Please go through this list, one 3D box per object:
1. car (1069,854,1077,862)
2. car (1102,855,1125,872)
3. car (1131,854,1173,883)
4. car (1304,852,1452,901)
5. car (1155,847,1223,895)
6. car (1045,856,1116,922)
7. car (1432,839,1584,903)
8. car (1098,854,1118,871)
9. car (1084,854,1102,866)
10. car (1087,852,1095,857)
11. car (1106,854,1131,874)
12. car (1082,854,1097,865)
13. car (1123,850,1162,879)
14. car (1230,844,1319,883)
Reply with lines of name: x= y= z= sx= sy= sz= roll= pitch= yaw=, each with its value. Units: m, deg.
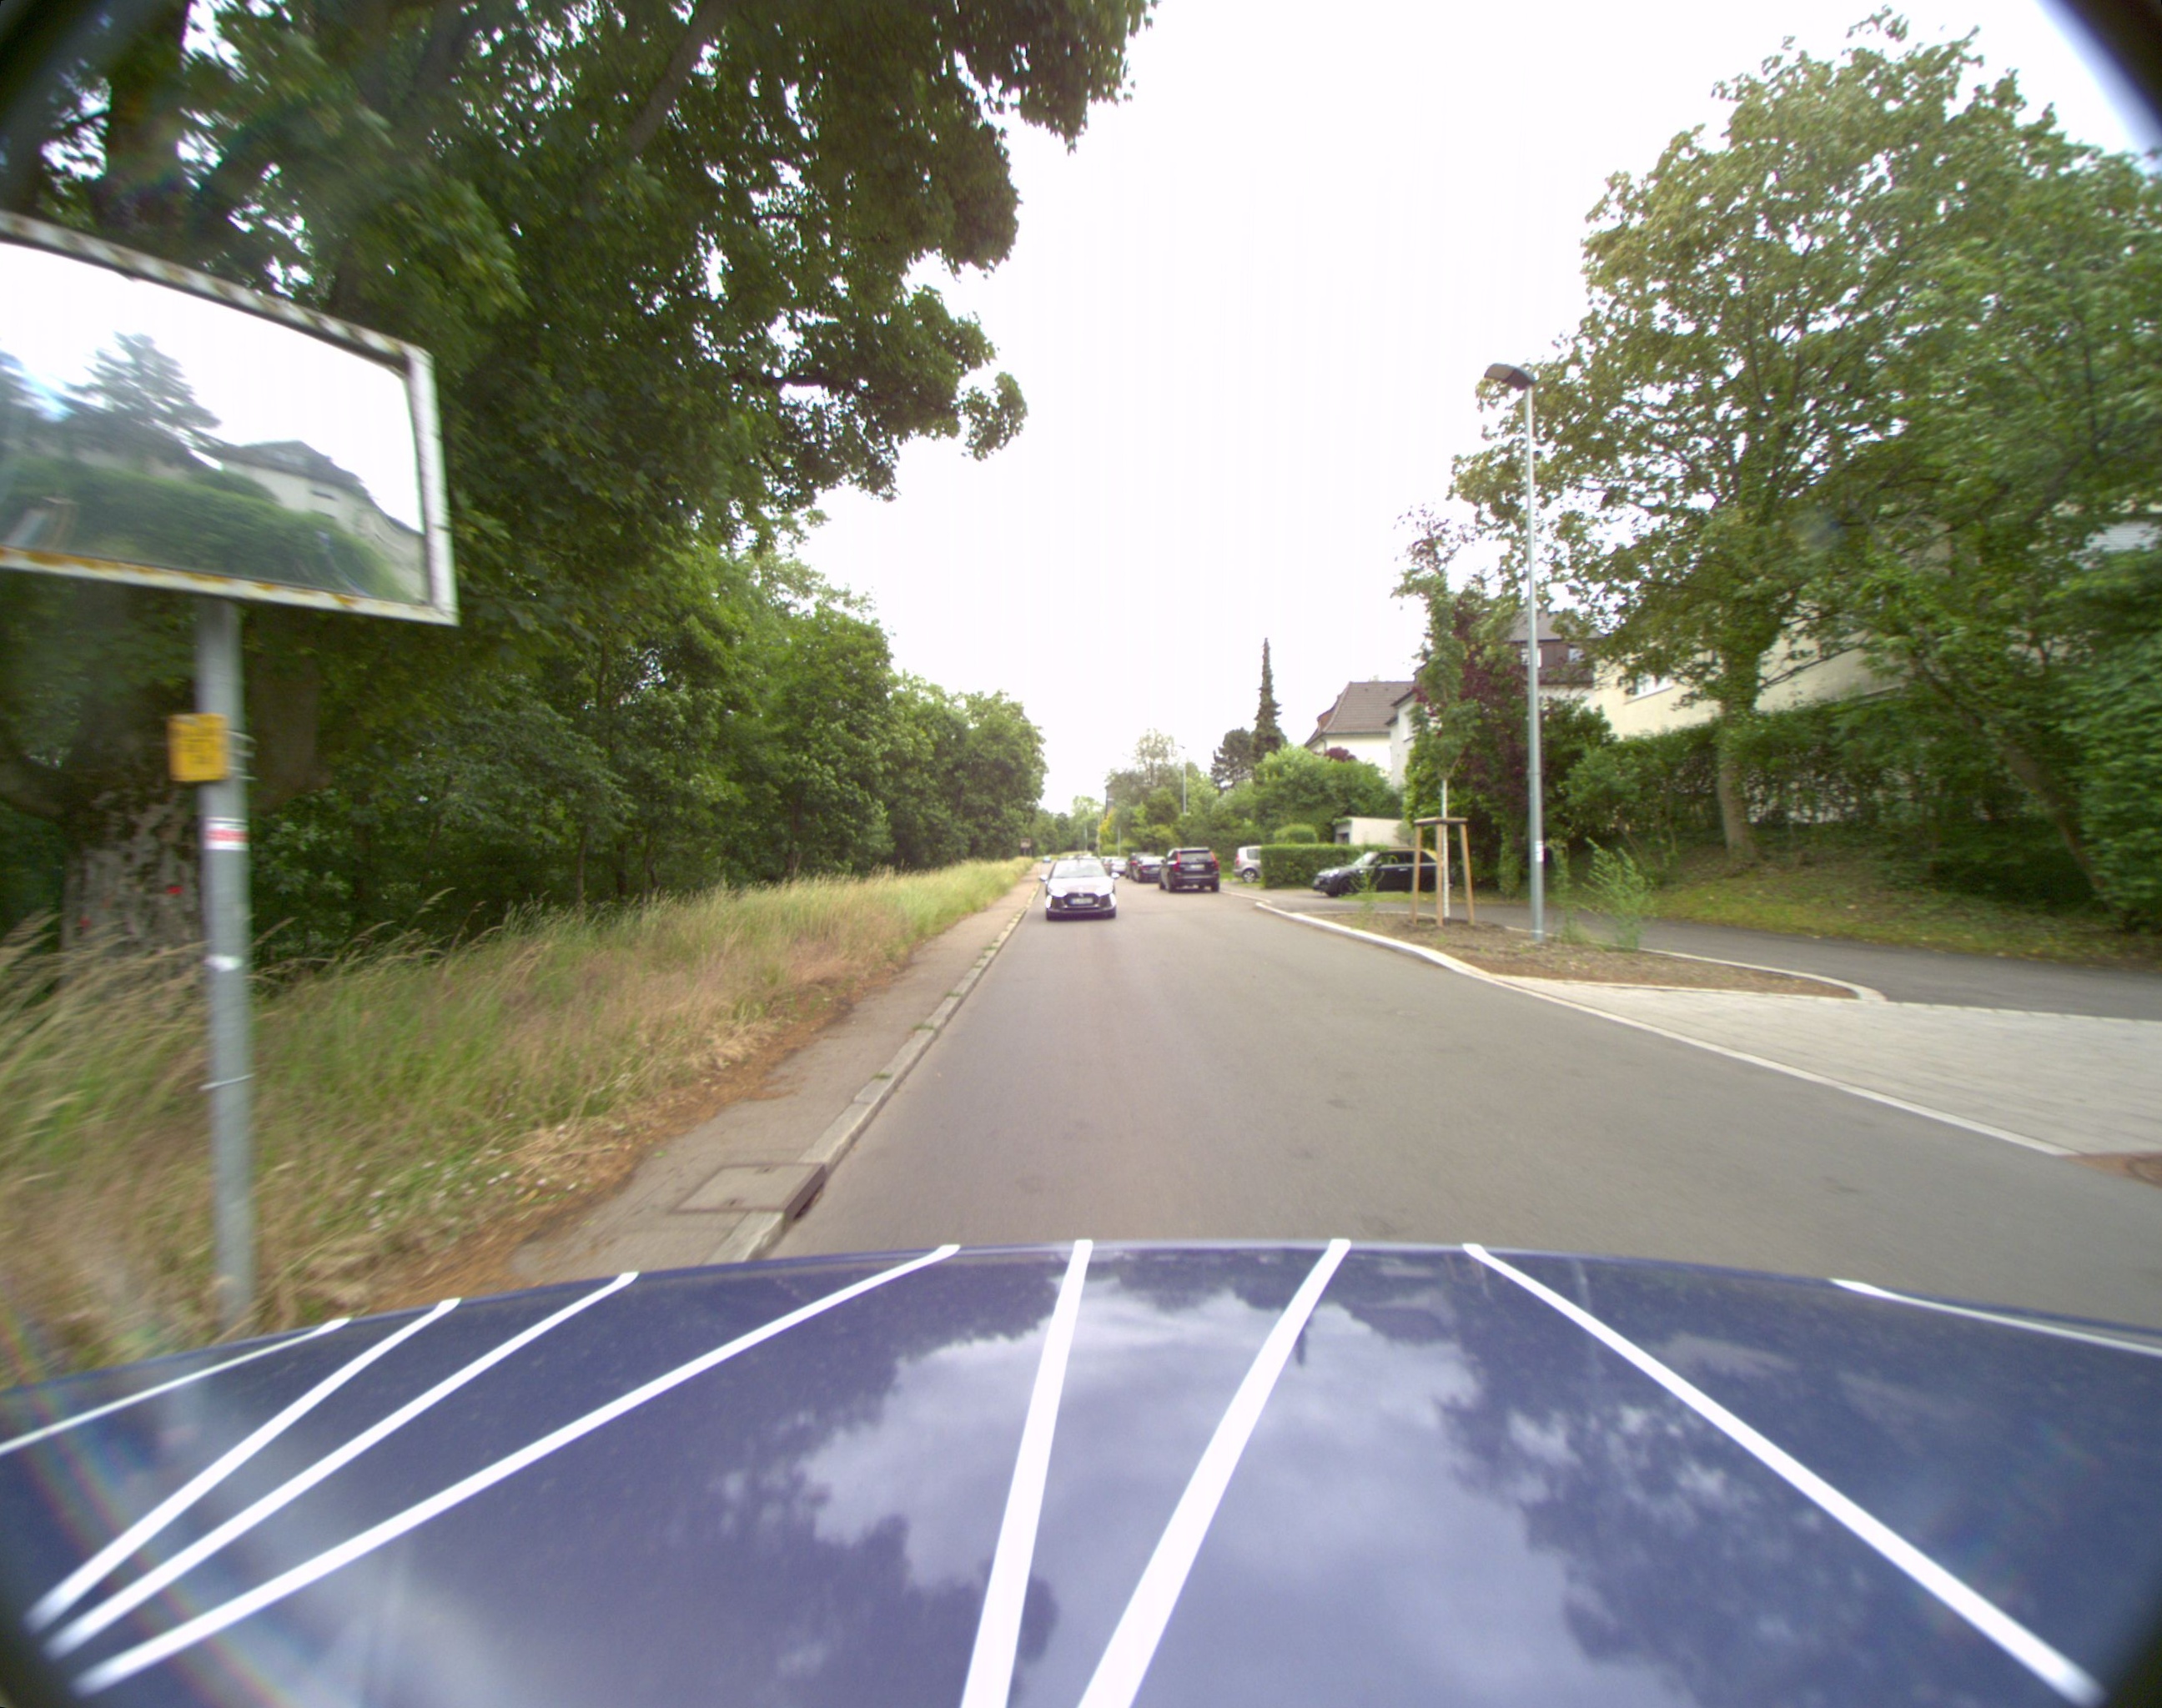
car: x=-1.695 y=0.824 z=158.469 sx=1.647 sy=1.461 sz=4.071 roll=1 pitch=0 yaw=0
car: x=2.733 y=0.782 z=65.155 sx=1.664 sy=1.444 sz=4.380 roll=0 pitch=0 yaw=-2
car: x=3.833 y=0.763 z=41.730 sx=1.758 sy=1.404 sz=4.898 roll=-2 pitch=0 yaw=0
car: x=9.022 y=0.669 z=23.320 sx=3.832 sy=1.377 sz=1.778 roll=-1 pitch=-1 yaw=1
car: x=4.292 y=0.619 z=31.016 sx=1.979 sy=1.726 sz=5.189 roll=-2 pitch=0 yaw=0
car: x=0.054 y=0.813 z=19.454 sx=1.619 sy=1.460 sz=4.000 roll=-1 pitch=0 yaw=2
car: x=13.205 y=0.504 z=23.699 sx=3.555 sy=1.783 sz=2.010 roll=2 pitch=0 yaw=3
car: x=2.444 y=0.756 z=69.866 sx=1.627 sy=1.441 sz=3.968 roll=0 pitch=0 yaw=-1
car: x=1.395 y=0.703 z=90.053 sx=1.783 sy=1.423 sz=5.103 roll=-1 pitch=0 yaw=-4
car: x=2.903 y=0.124 z=210.228 sx=1.735 sy=1.420 sz=3.459 roll=1 pitch=1 yaw=9
car: x=2.864 y=0.753 z=59.286 sx=1.627 sy=1.441 sz=4.093 roll=-2 pitch=0 yaw=-1
car: x=1.034 y=0.702 z=96.531 sx=1.629 sy=1.423 sz=4.349 roll=0 pitch=0 yaw=-4
car: x=3.756 y=0.623 z=47.179 sx=1.736 sy=1.623 sz=4.567 roll=-2 pitch=0 yaw=-3
car: x=8.607 y=0.419 z=34.074 sx=3.698 sy=1.628 sz=1.829 roll=-2 pitch=0 yaw=11
